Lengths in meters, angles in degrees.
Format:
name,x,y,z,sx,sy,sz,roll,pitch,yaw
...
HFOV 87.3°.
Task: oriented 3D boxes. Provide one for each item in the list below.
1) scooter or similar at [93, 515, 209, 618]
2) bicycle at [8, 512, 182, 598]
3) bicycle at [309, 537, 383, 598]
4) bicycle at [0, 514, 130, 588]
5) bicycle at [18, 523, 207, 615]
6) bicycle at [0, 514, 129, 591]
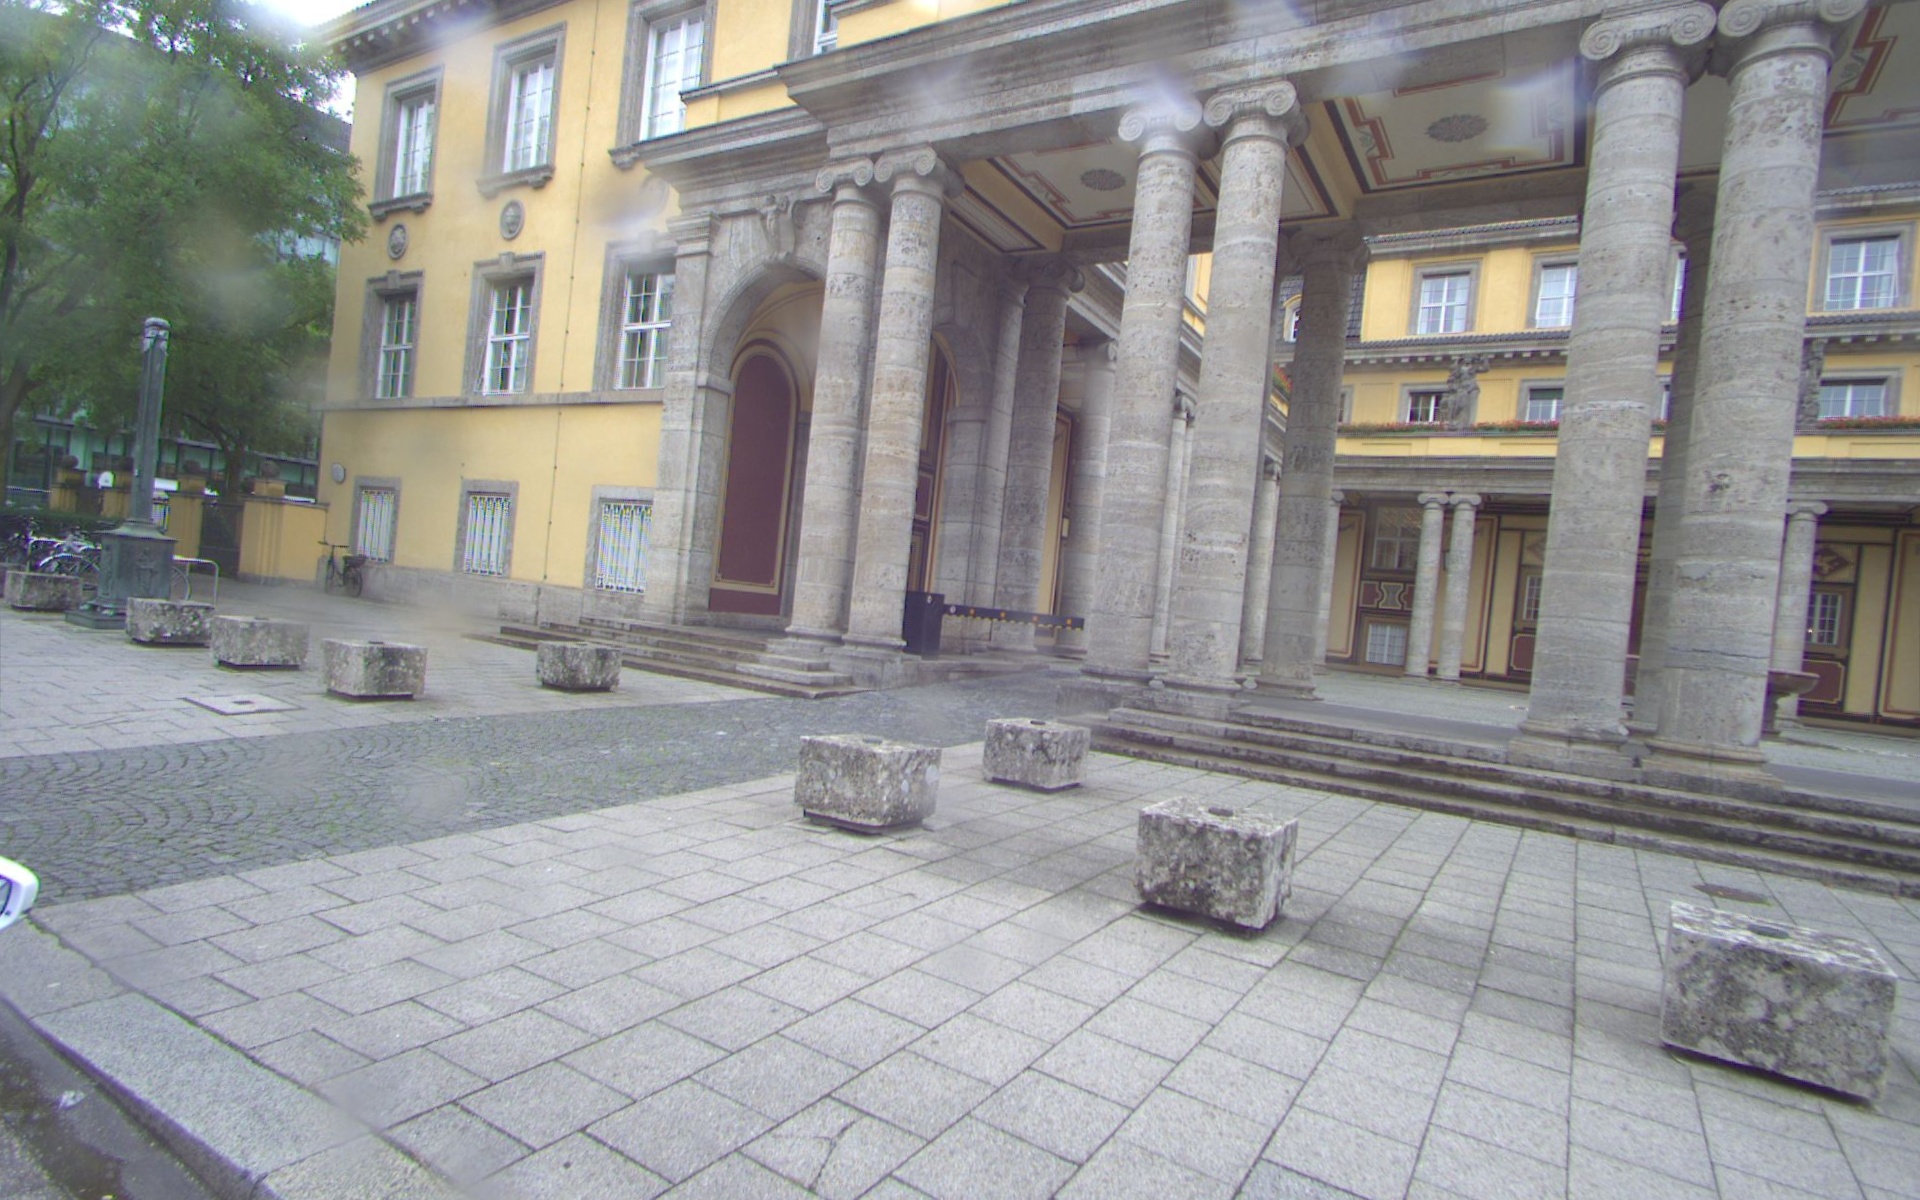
name,x,y,z,sx,sy,sz,roll,pitch,yaw
scooter or similar,-10.685,-0.433,13.311,0.996,1.238,0.536,5,2,-13
bicycle,-13.161,-0.653,15.371,0.464,1.128,1.931,7,1,34
bicycle,-13.751,-0.728,22.519,1.870,1.169,0.542,7,2,31
bicycle,-15.559,-0.833,17.272,0.464,1.128,1.931,7,1,33
bicycle,-11.751,-0.395,14.021,0.463,1.128,1.933,6,1,29
bicycle,-15.045,-0.773,16.630,0.464,1.128,1.931,7,1,34
